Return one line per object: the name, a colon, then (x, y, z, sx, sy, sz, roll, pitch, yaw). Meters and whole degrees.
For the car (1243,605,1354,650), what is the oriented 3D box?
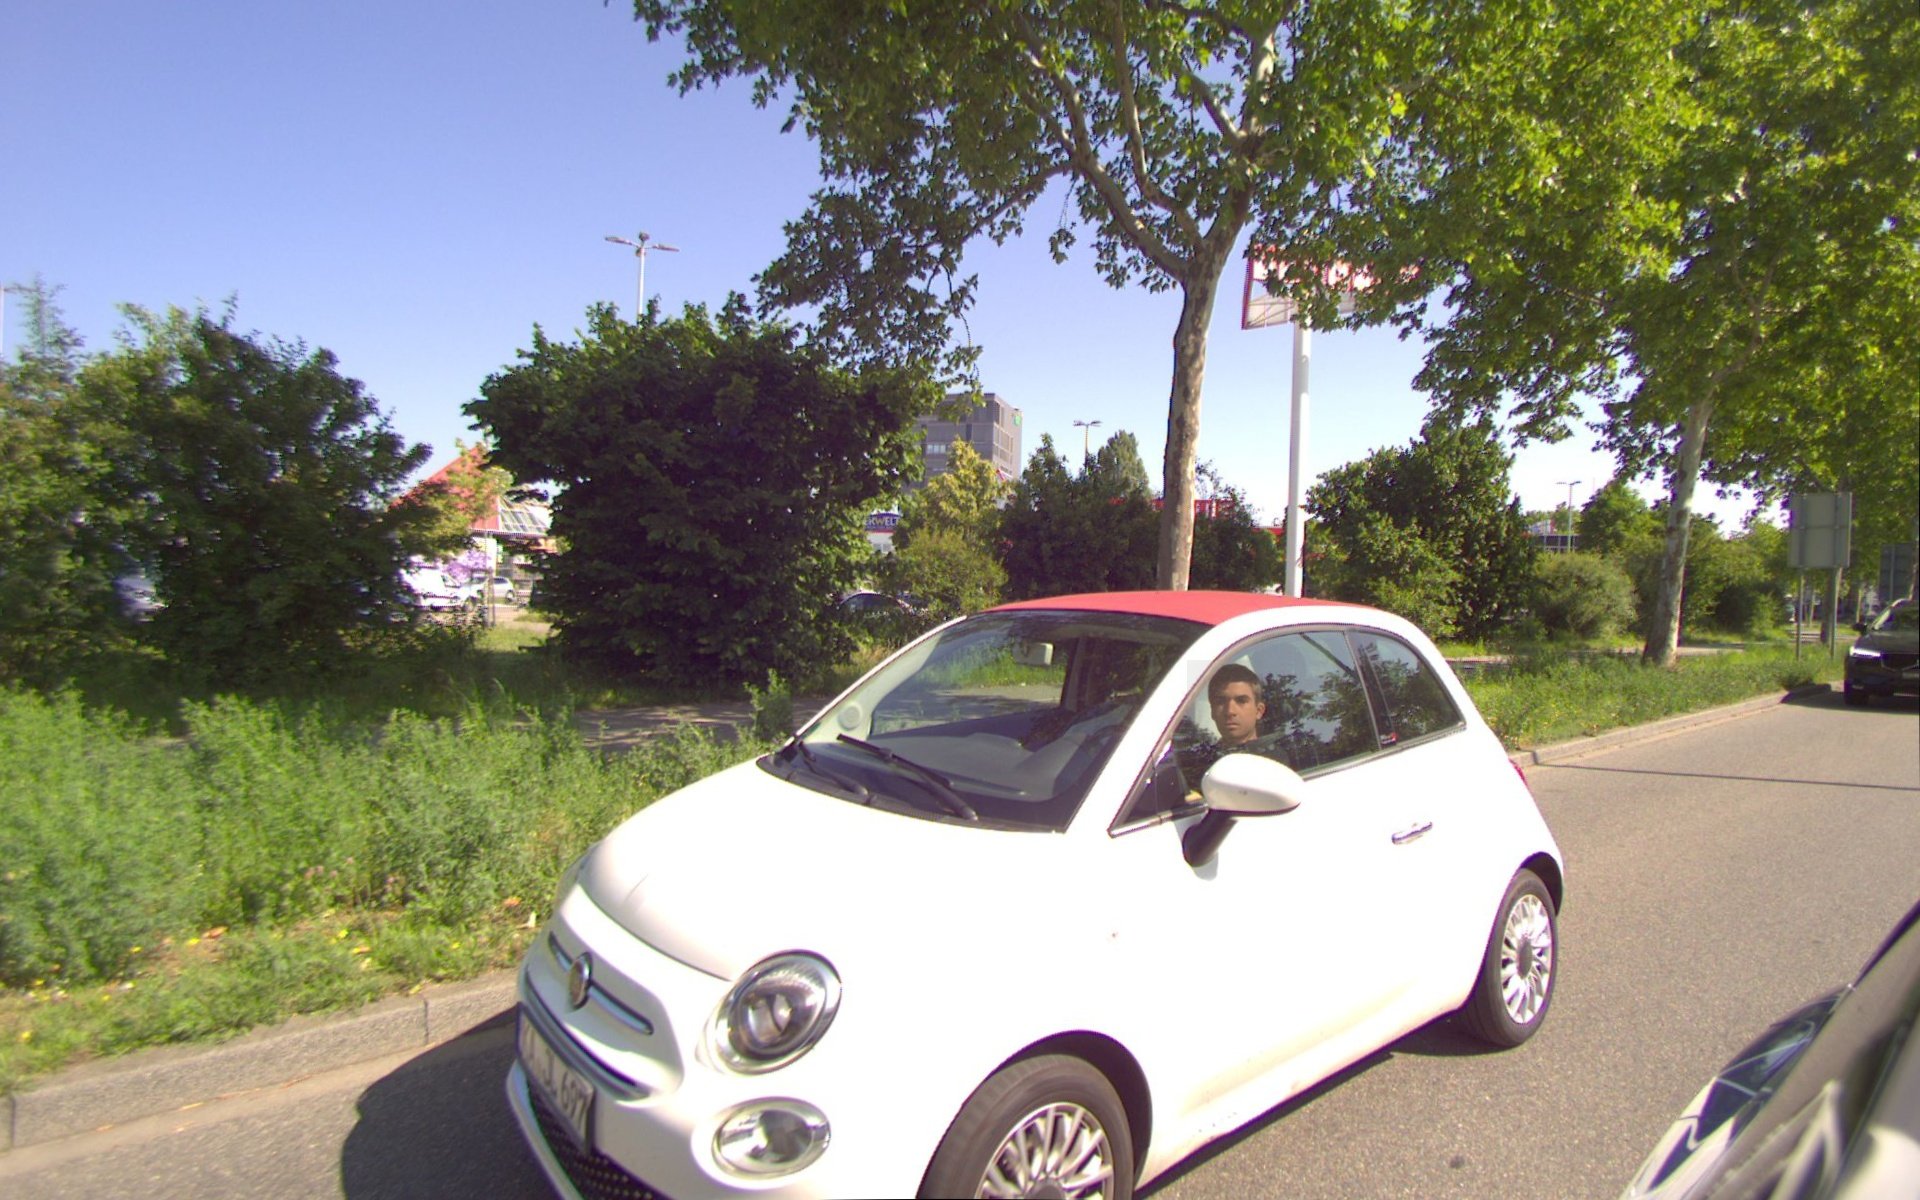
car: (13.617, 1.058, 40.850, 1.670, 1.693, 3.989, 0, 0, -44)

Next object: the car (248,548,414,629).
car: (-13.984, -0.252, 22.471, 3.625, 1.660, 1.711, 0, 0, 32)

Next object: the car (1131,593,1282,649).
car: (8.572, 0.672, 35.487, 4.967, 1.839, 1.779, 1, 0, 44)

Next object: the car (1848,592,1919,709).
car: (15.261, 0.704, 15.507, 4.485, 1.643, 1.922, 0, 0, -41)

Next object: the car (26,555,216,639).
car: (-15.778, -0.064, 19.008, 3.516, 1.438, 1.685, 0, 0, 31)

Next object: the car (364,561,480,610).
car: (-20.384, -0.539, 38.540, 1.736, 1.794, 3.983, 0, 0, 14)

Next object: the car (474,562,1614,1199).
car: (0.518, 0.662, 3.231, 3.456, 1.454, 1.665, 0, 0, -39)
